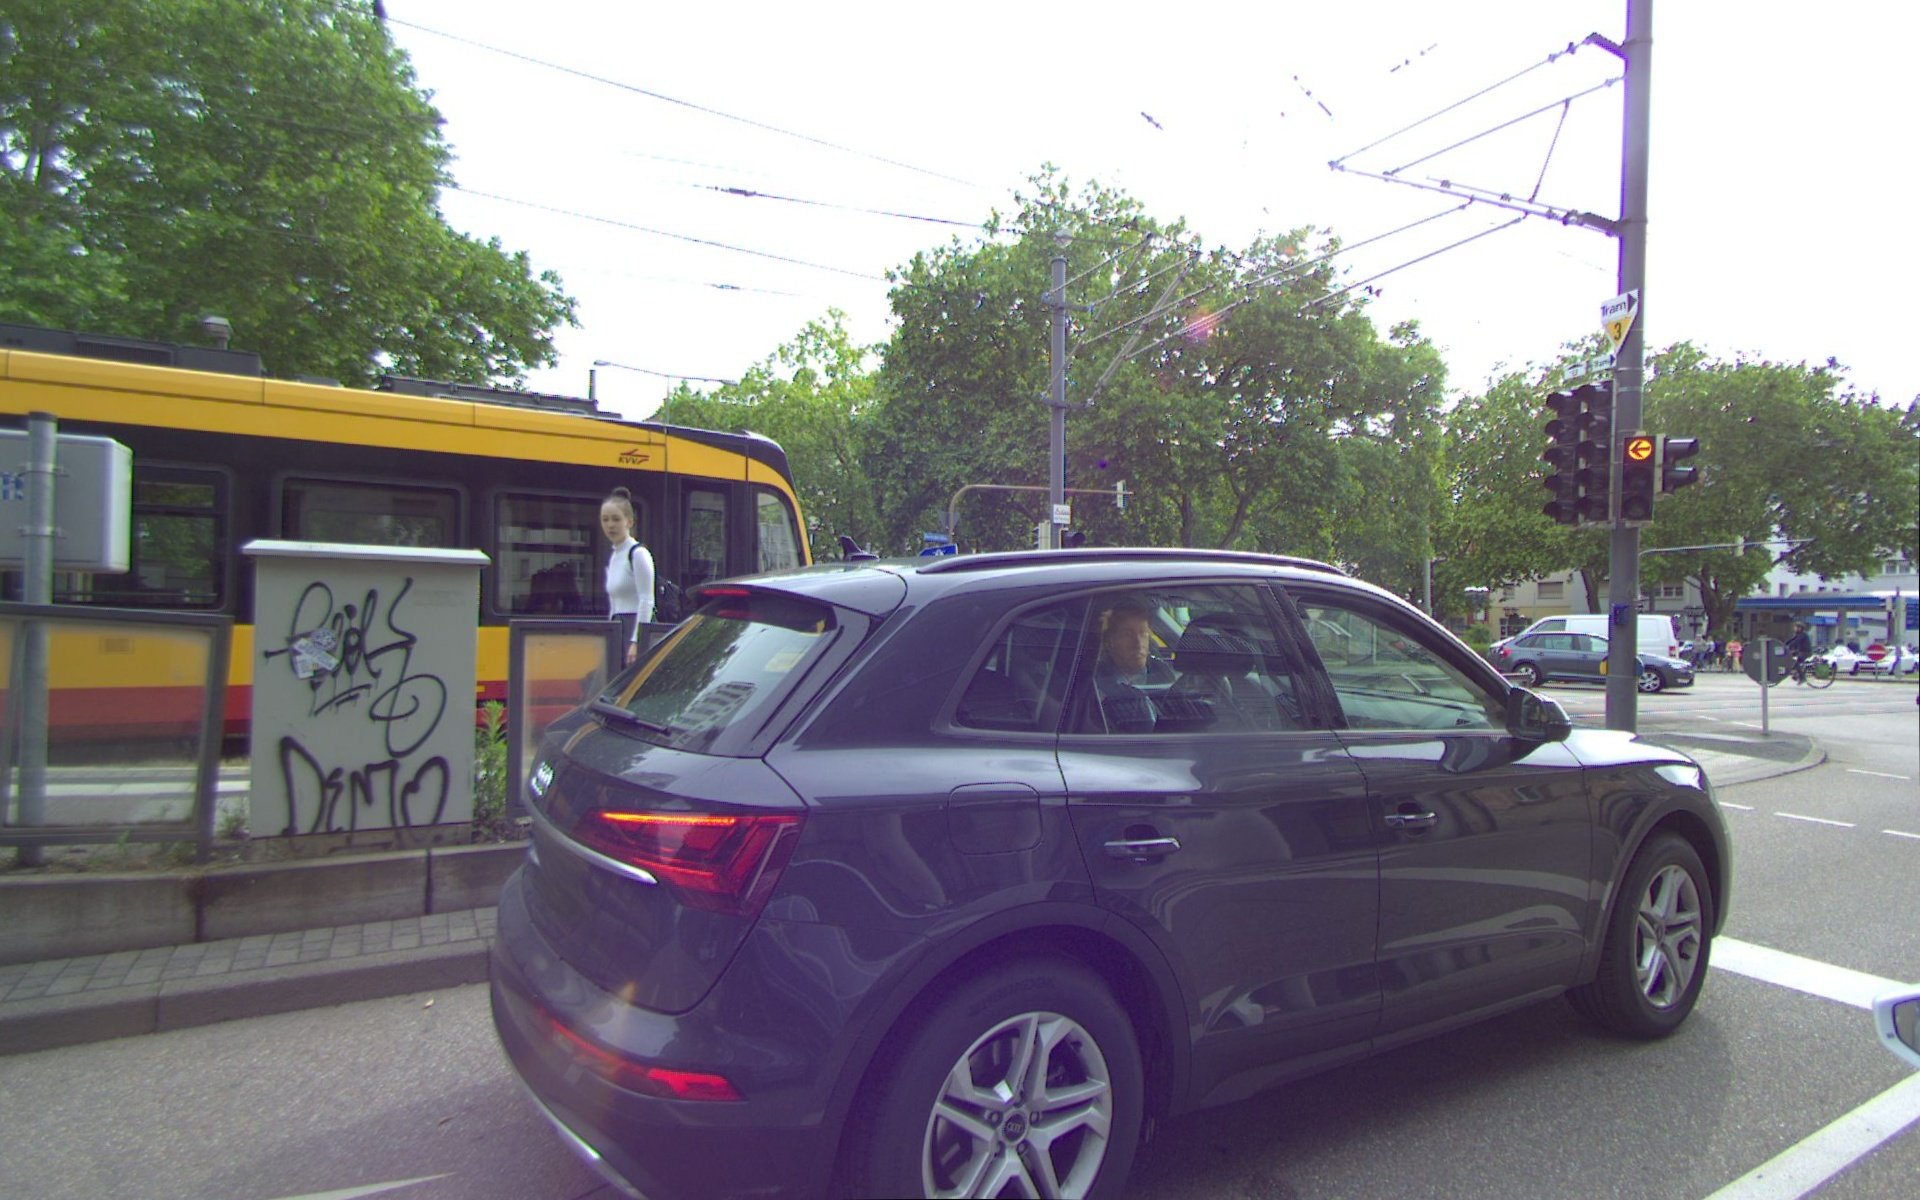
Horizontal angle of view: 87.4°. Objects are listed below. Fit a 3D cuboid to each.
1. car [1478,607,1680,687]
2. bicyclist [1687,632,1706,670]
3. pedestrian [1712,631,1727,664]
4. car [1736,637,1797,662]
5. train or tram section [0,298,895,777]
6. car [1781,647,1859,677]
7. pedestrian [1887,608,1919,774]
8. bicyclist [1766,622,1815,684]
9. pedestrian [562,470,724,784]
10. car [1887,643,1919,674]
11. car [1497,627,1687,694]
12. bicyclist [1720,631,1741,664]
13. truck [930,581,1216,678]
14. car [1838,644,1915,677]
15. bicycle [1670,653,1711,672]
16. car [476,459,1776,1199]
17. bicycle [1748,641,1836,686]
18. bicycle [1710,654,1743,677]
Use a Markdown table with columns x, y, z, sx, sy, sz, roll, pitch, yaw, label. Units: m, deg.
| x | y | z | sx | sy | sz | roll | pitch | yaw | label |
| --- | --- | --- | --- | --- | --- | --- | --- | --- | --- |
| 17.802 | 1.283 | 29.024 | 4.798 | 1.993 | 1.983 | 2 | 0 | 35 | car |
| 35.880 | 2.466 | 48.908 | 0.461 | 1.808 | 0.534 | 2 | 0 | -10 | bicyclist |
| 41.673 | 2.605 | 55.115 | 0.541 | 1.808 | 0.375 | 2 | 0 | -6 | pedestrian |
| 54.733 | 3.360 | 68.166 | 3.954 | 1.550 | 1.984 | 2 | 0 | -30 | car |
| -8.277 | -0.498 | 8.823 | 15.665 | 3.636 | 3.045 | 2 | 0 | -31 | train or tram section |
| 41.373 | 2.975 | 48.309 | 3.954 | 1.343 | 1.626 | 2 | 0 | -31 | car |
| 10.339 | 0.951 | 10.372 | 0.851 | 1.702 | 0.673 | 2 | 0 | 9 | pedestrian |
| 23.999 | 1.517 | 29.038 | 1.026 | 1.706 | 0.641 | 2 | 0 | 41 | bicyclist |
| -1.874 | 0.151 | 5.899 | 0.722 | 1.683 | 0.750 | 2 | 0 | -30 | pedestrian |
| 52.763 | 3.227 | 55.042 | 3.792 | 1.578 | 1.885 | 2 | 0 | -30 | car |
| 15.917 | 1.459 | 25.387 | 3.927 | 1.489 | 1.835 | 0 | -1 | 36 | car |
| 37.206 | 2.284 | 48.517 | 0.611 | 1.588 | 0.585 | 2 | 0 | -30 | bicyclist |
| 3.699 | 0.883 | 35.292 | 10.016 | 2.980 | 2.627 | 1 | 0 | 37 | truck |
| 46.955 | 3.090 | 51.468 | 3.792 | 1.578 | 1.885 | 2 | 0 | -30 | car |
| 35.775 | 3.047 | 49.211 | 0.644 | 0.783 | 1.682 | 2 | 0 | -9 | bicycle |
| 0.787 | 0.655 | 3.517 | 4.308 | 1.622 | 1.870 | 2 | -1 | -31 | car |
| 24.031 | 1.817 | 29.048 | 1.914 | 1.151 | 0.732 | 2 | 0 | 40 | bicycle |
| 36.921 | 3.154 | 48.375 | 1.914 | 1.031 | 0.519 | 2 | 0 | -30 | bicycle |
